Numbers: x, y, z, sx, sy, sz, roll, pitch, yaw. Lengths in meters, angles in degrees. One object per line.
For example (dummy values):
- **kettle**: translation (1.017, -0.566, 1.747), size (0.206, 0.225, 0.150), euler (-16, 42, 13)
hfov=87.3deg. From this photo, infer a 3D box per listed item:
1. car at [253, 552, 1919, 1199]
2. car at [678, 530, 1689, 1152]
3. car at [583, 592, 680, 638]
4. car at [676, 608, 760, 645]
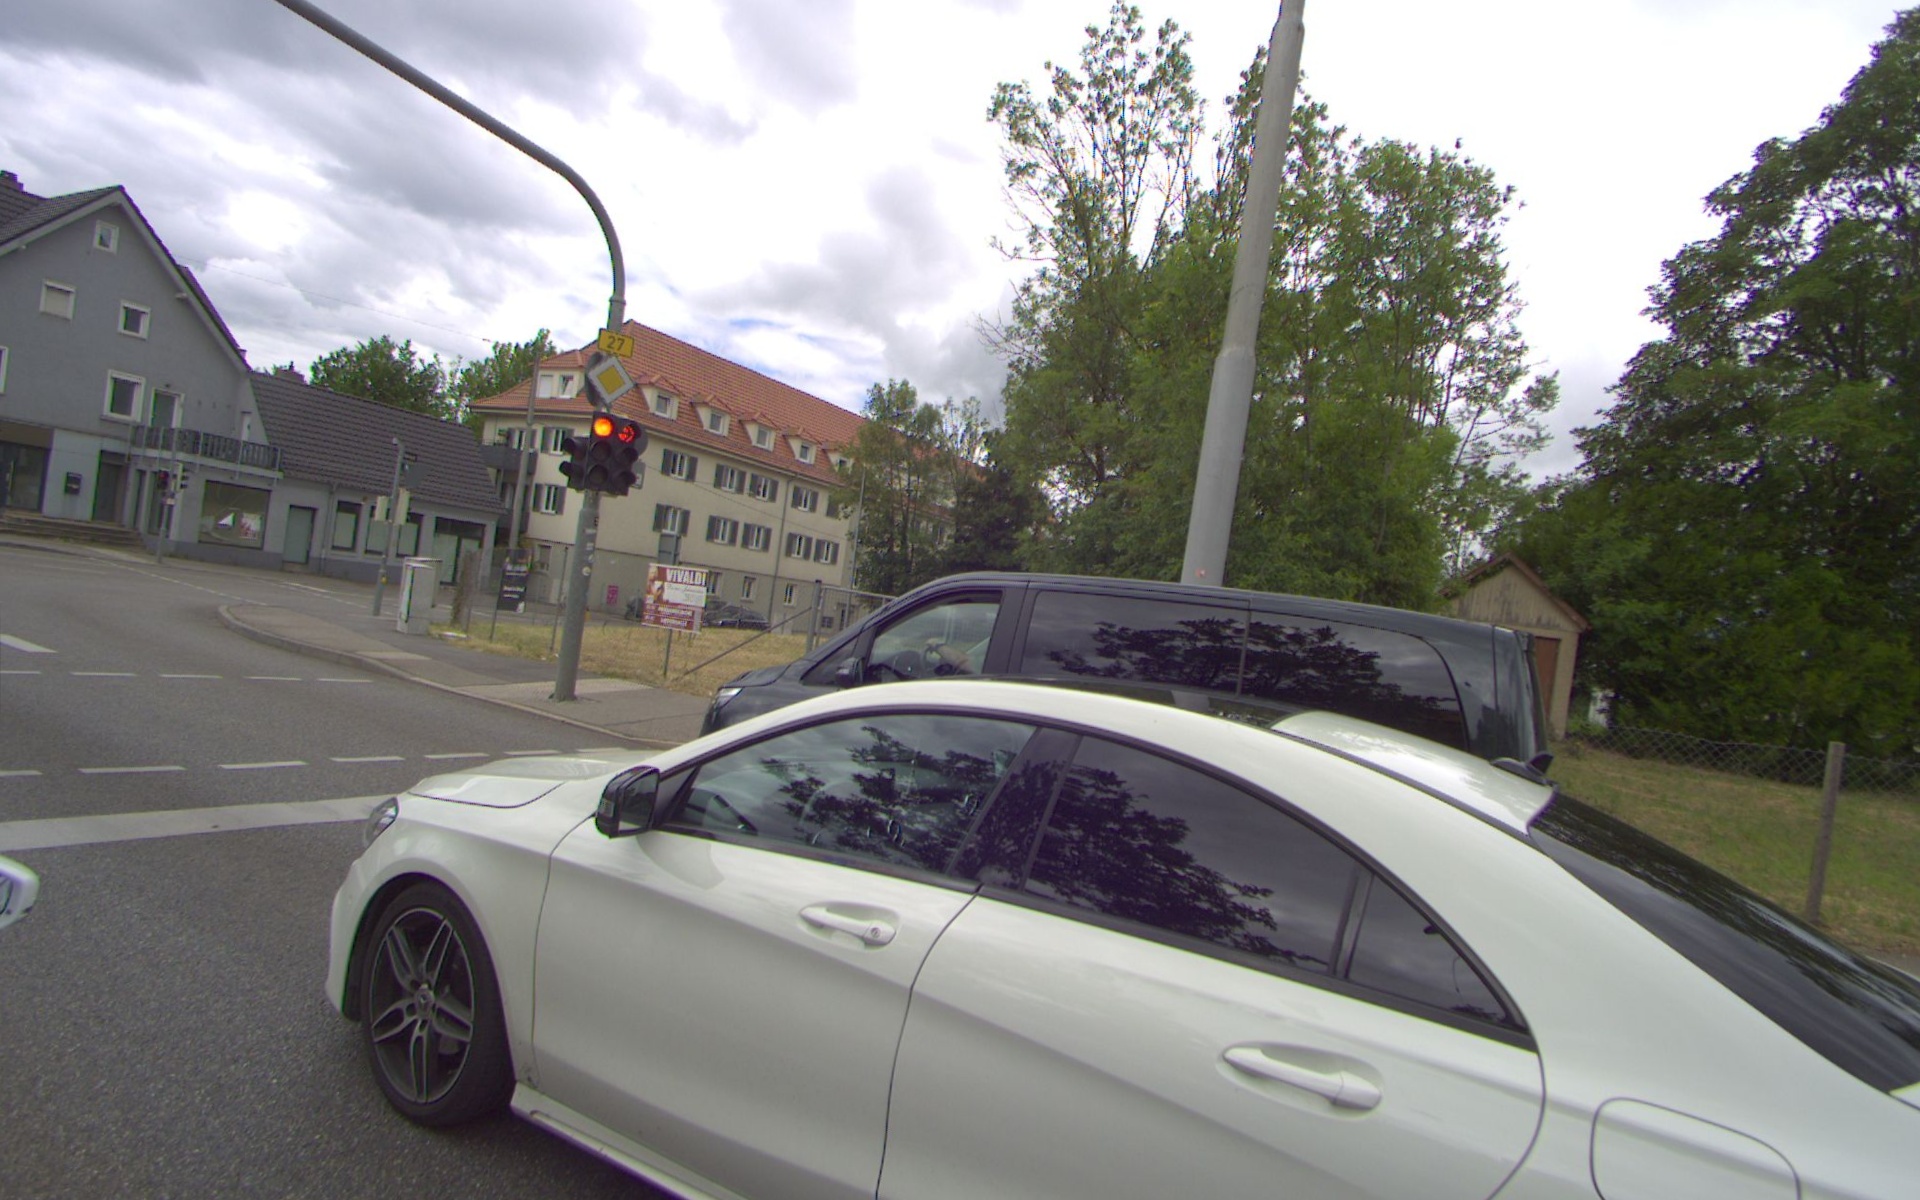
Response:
- **car**: translation (0.155, 0.852, 2.641), size (4.305, 1.451, 1.651), euler (7, 0, 32)
- **car**: translation (0.928, 0.846, 5.510), size (4.631, 1.860, 1.953), euler (7, -2, 32)
- **car**: translation (-15.523, 0.739, 47.661), size (1.839, 1.554, 3.996), euler (7, -2, 32)
- **car**: translation (-12.628, 1.402, 52.650), size (1.839, 1.393, 3.996), euler (7, -2, 32)
